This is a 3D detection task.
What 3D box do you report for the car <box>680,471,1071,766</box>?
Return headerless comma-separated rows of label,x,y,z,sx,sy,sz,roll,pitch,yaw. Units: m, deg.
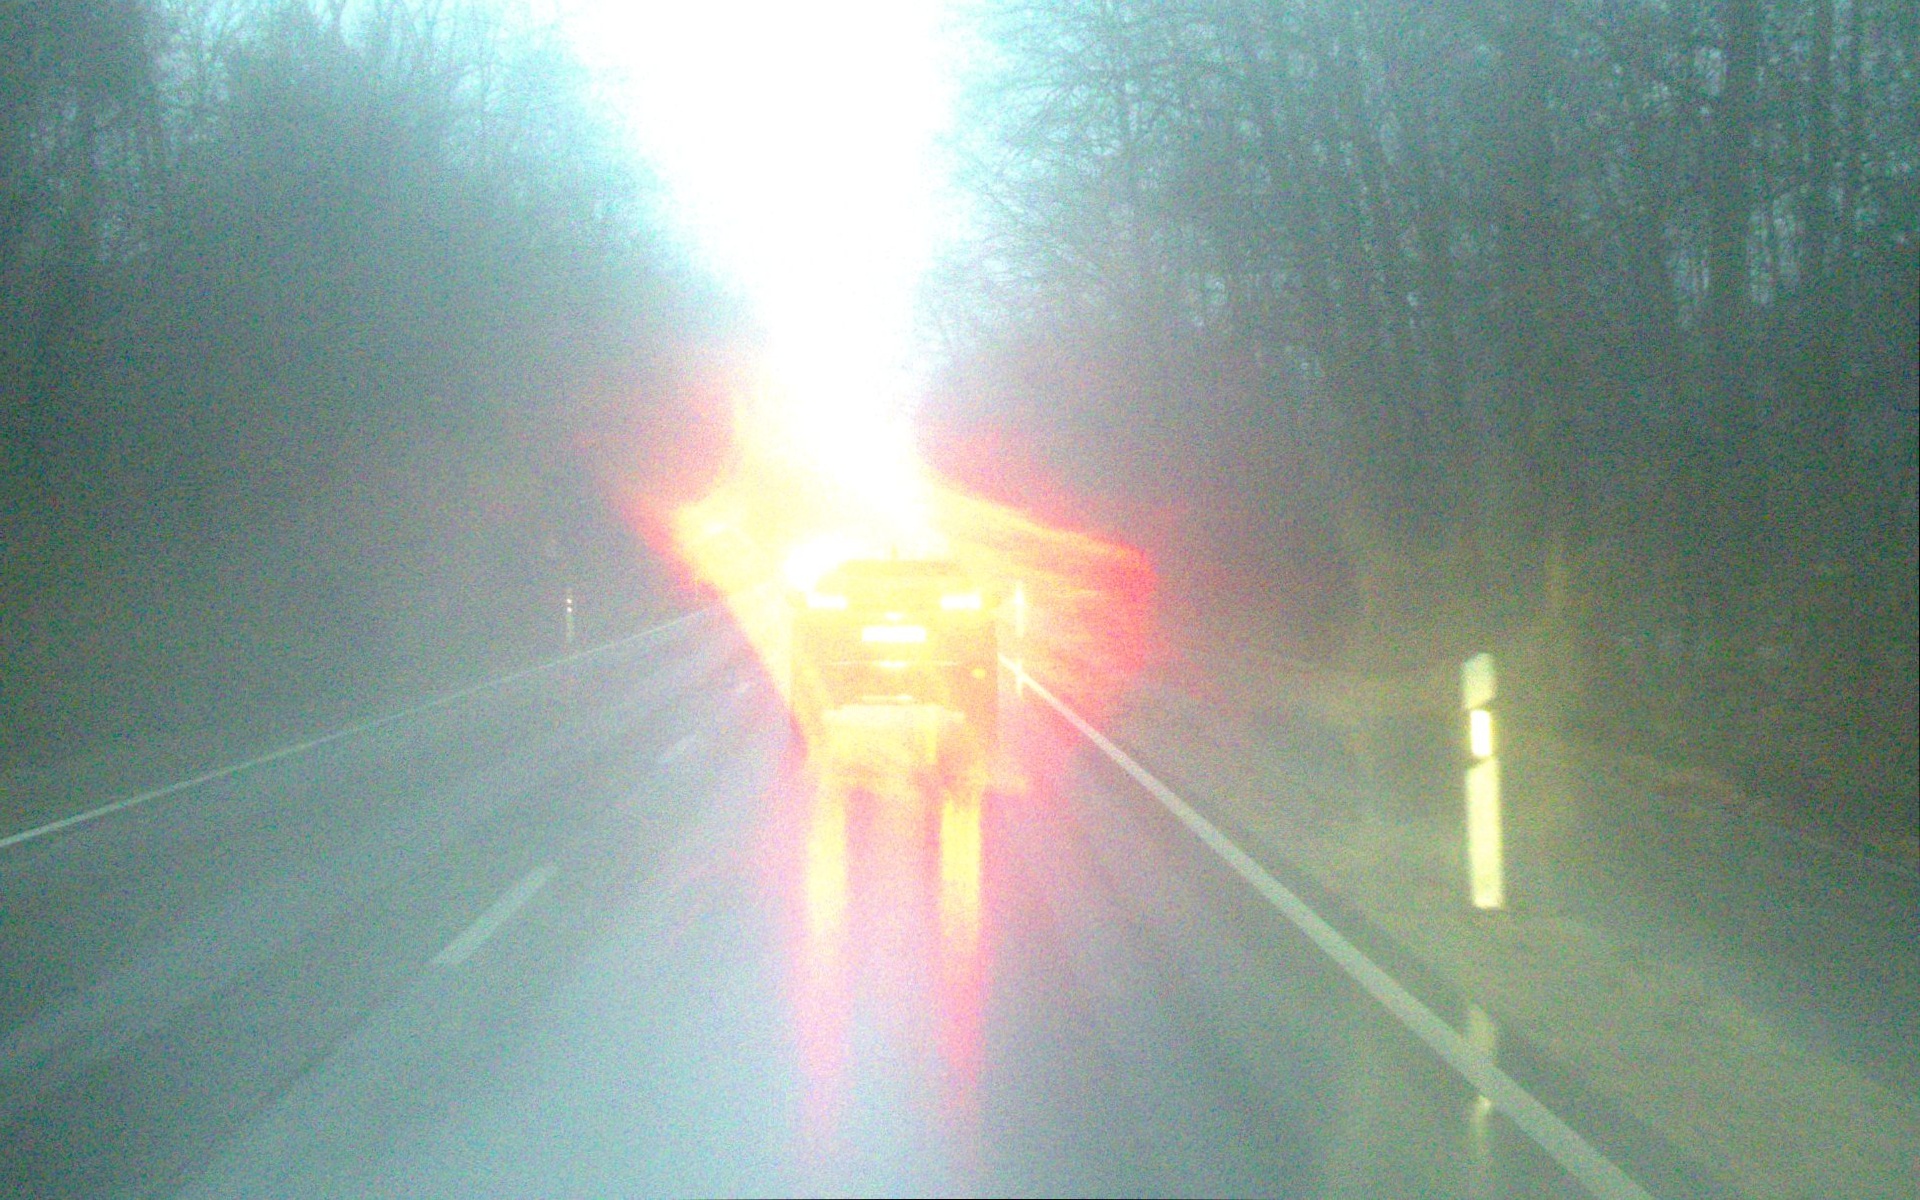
car,-0.731,0.119,31.621,3.183,2.378,6.636,1,1,-1
